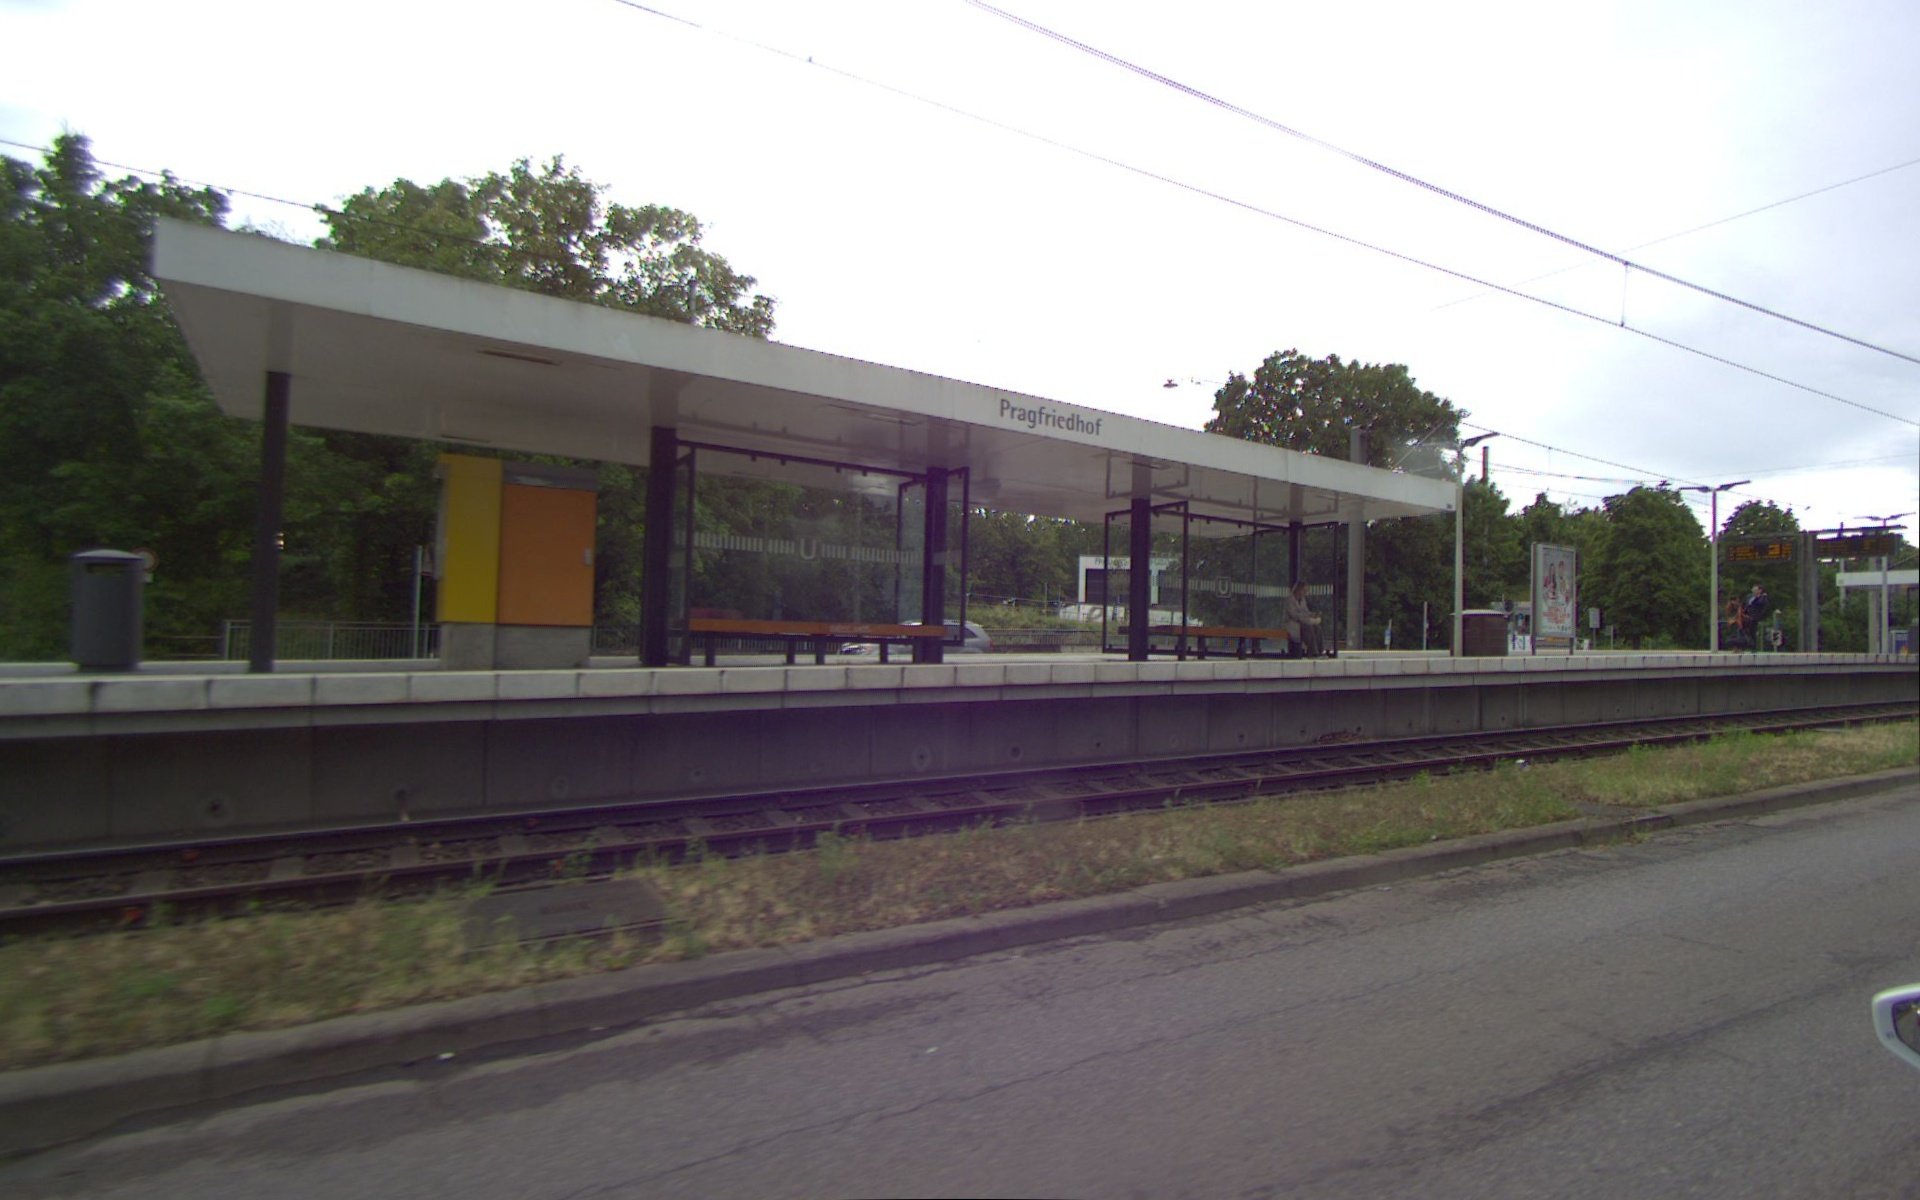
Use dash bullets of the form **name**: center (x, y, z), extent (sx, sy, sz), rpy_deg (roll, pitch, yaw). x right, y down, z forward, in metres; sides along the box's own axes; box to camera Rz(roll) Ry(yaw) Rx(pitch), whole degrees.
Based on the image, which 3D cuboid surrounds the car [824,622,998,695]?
- **car**: center (-1.328, 1.586, 28.049), extent (4.467, 1.901, 1.983), rpy_deg (2, -2, -31)

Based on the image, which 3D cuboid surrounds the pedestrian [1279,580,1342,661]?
- **pedestrian**: center (5.525, 0.320, 15.853), extent (0.612, 1.242, 0.707), rpy_deg (1, -1, -30)

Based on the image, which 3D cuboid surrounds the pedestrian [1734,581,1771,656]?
- **pedestrian**: center (21.045, 0.478, 26.665), extent (0.734, 1.935, 0.838), rpy_deg (1, 1, 39)

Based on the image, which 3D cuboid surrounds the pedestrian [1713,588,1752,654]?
- **pedestrian**: center (20.129, 0.530, 26.177), extent (0.785, 1.669, 0.915), rpy_deg (1, 1, 39)
